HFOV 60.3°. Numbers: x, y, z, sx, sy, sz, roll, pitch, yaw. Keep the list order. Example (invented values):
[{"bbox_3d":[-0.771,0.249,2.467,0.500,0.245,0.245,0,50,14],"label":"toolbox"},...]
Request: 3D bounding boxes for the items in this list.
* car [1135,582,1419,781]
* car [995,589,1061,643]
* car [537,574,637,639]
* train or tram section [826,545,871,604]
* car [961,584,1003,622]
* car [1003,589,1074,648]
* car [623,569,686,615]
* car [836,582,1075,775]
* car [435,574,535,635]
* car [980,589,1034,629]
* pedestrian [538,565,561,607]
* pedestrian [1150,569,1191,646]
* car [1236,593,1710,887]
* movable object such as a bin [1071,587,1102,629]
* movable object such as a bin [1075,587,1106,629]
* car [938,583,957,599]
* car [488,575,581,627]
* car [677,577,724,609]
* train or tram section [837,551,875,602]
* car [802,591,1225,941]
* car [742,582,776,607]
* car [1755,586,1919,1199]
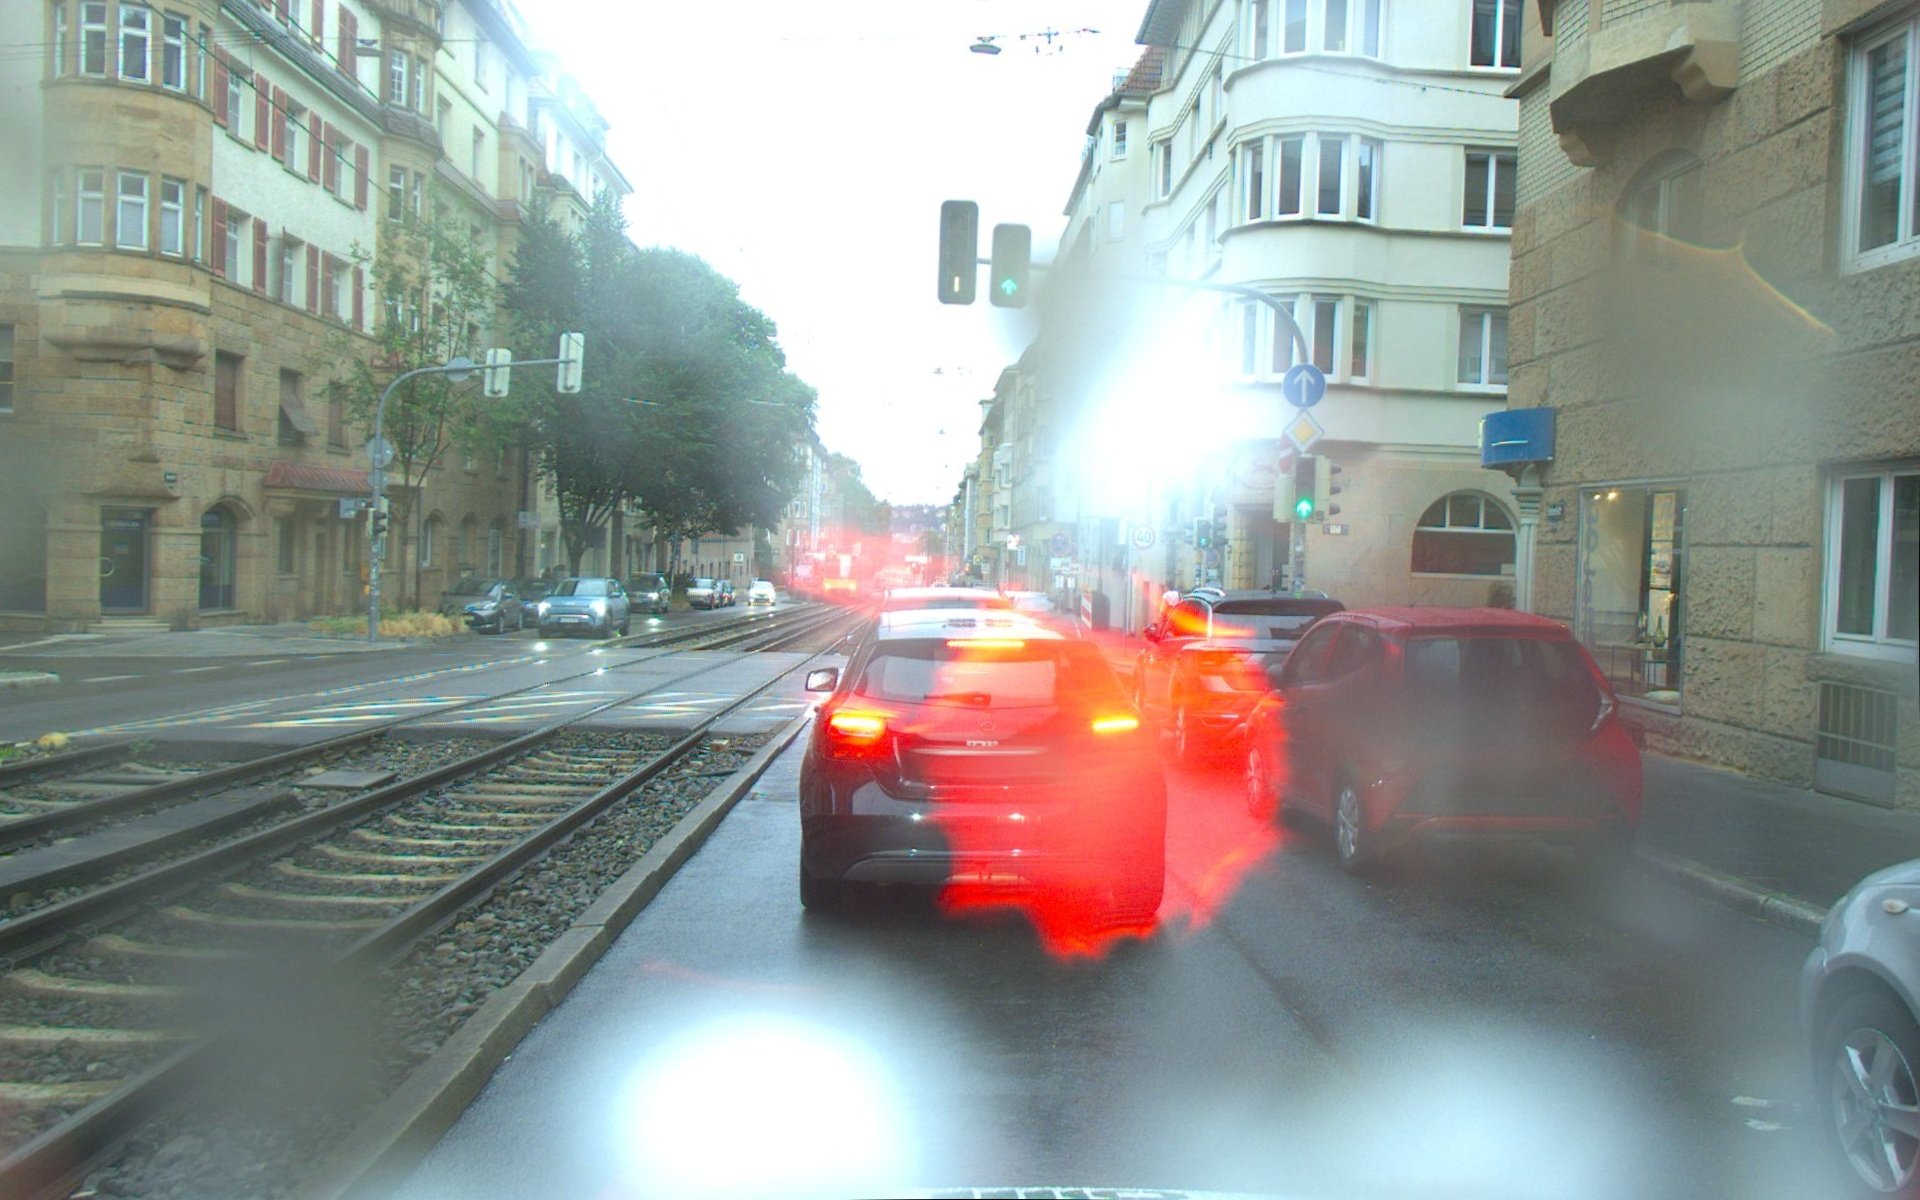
[{"bbox_3d":[2.827,0.669,15.641,1.830,1.576,3.990,2,0,-1],"label":"car"},{"bbox_3d":[1.952,0.460,48.835,1.677,1.493,4.773,1,0,-1],"label":"car"},{"bbox_3d":[-9.986,0.179,44.560,1.883,1.646,4.126,1,0,-3],"label":"car"},{"bbox_3d":[-8.385,-1.887,125.886,2.690,4.132,17.208,1,1,-2],"label":"train or tram section"},{"bbox_3d":[1.007,0.133,74.399,1.803,1.636,4.761,1,0,1],"label":"car"},{"bbox_3d":[2.004,0.481,43.468,1.675,1.435,4.817,1,0,1],"label":"car"},{"bbox_3d":[-13.197,-0.384,71.721,1.914,1.772,4.777,4,1,-3],"label":"car"},{"bbox_3d":[-0.068,0.651,16.000,1.953,1.552,4.245,2,0,-1],"label":"car"},{"bbox_3d":[-12.947,0.128,45.319,1.656,1.556,4.173,1,0,-3],"label":"car"},{"bbox_3d":[1.722,0.327,61.715,1.753,1.410,4.394,1,0,-1],"label":"car"},{"bbox_3d":[-16.626,-0.564,67.024,0.713,1.692,0.770,2,0,-2],"label":"pedestrian"},{"bbox_3d":[4.762,0.179,37.462,0.788,1.717,0.754,1,-1,-2],"label":"pedestrian"},{"bbox_3d":[2.975,0.726,10.370,1.672,1.478,3.530,2,0,-3],"label":"car"},{"bbox_3d":[4.691,0.298,61.234,0.997,1.494,1.322,1,0,-2],"label":"movable object such as a bin"},{"bbox_3d":[4.697,0.291,59.678,0.960,1.494,1.272,1,0,-2],"label":"movable object such as a bin"},{"bbox_3d":[-1.279,-0.951,170.830,1.848,1.552,4.246,2,0,1],"label":"car"},{"bbox_3d":[-13.009,0.031,50.874,1.745,1.485,4.976,1,0,-3],"label":"car"},{"bbox_3d":[-13.912,-0.407,88.973,1.922,1.633,4.327,2,1,-2],"label":"car"},{"bbox_3d":[-8.809,-1.974,142.158,2.690,4.132,15.656,1,1,-2],"label":"train or tram section"},{"bbox_3d":[0.206,0.712,9.086,1.797,1.478,3.901,1,0,-1],"label":"car"},{"bbox_3d":[-12.526,-0.331,103.320,1.745,1.529,4.060,1,0,-3],"label":"car"},{"bbox_3d":[3.064,0.735,2.955,1.562,1.513,3.521,0,0,-1],"label":"car"}]
